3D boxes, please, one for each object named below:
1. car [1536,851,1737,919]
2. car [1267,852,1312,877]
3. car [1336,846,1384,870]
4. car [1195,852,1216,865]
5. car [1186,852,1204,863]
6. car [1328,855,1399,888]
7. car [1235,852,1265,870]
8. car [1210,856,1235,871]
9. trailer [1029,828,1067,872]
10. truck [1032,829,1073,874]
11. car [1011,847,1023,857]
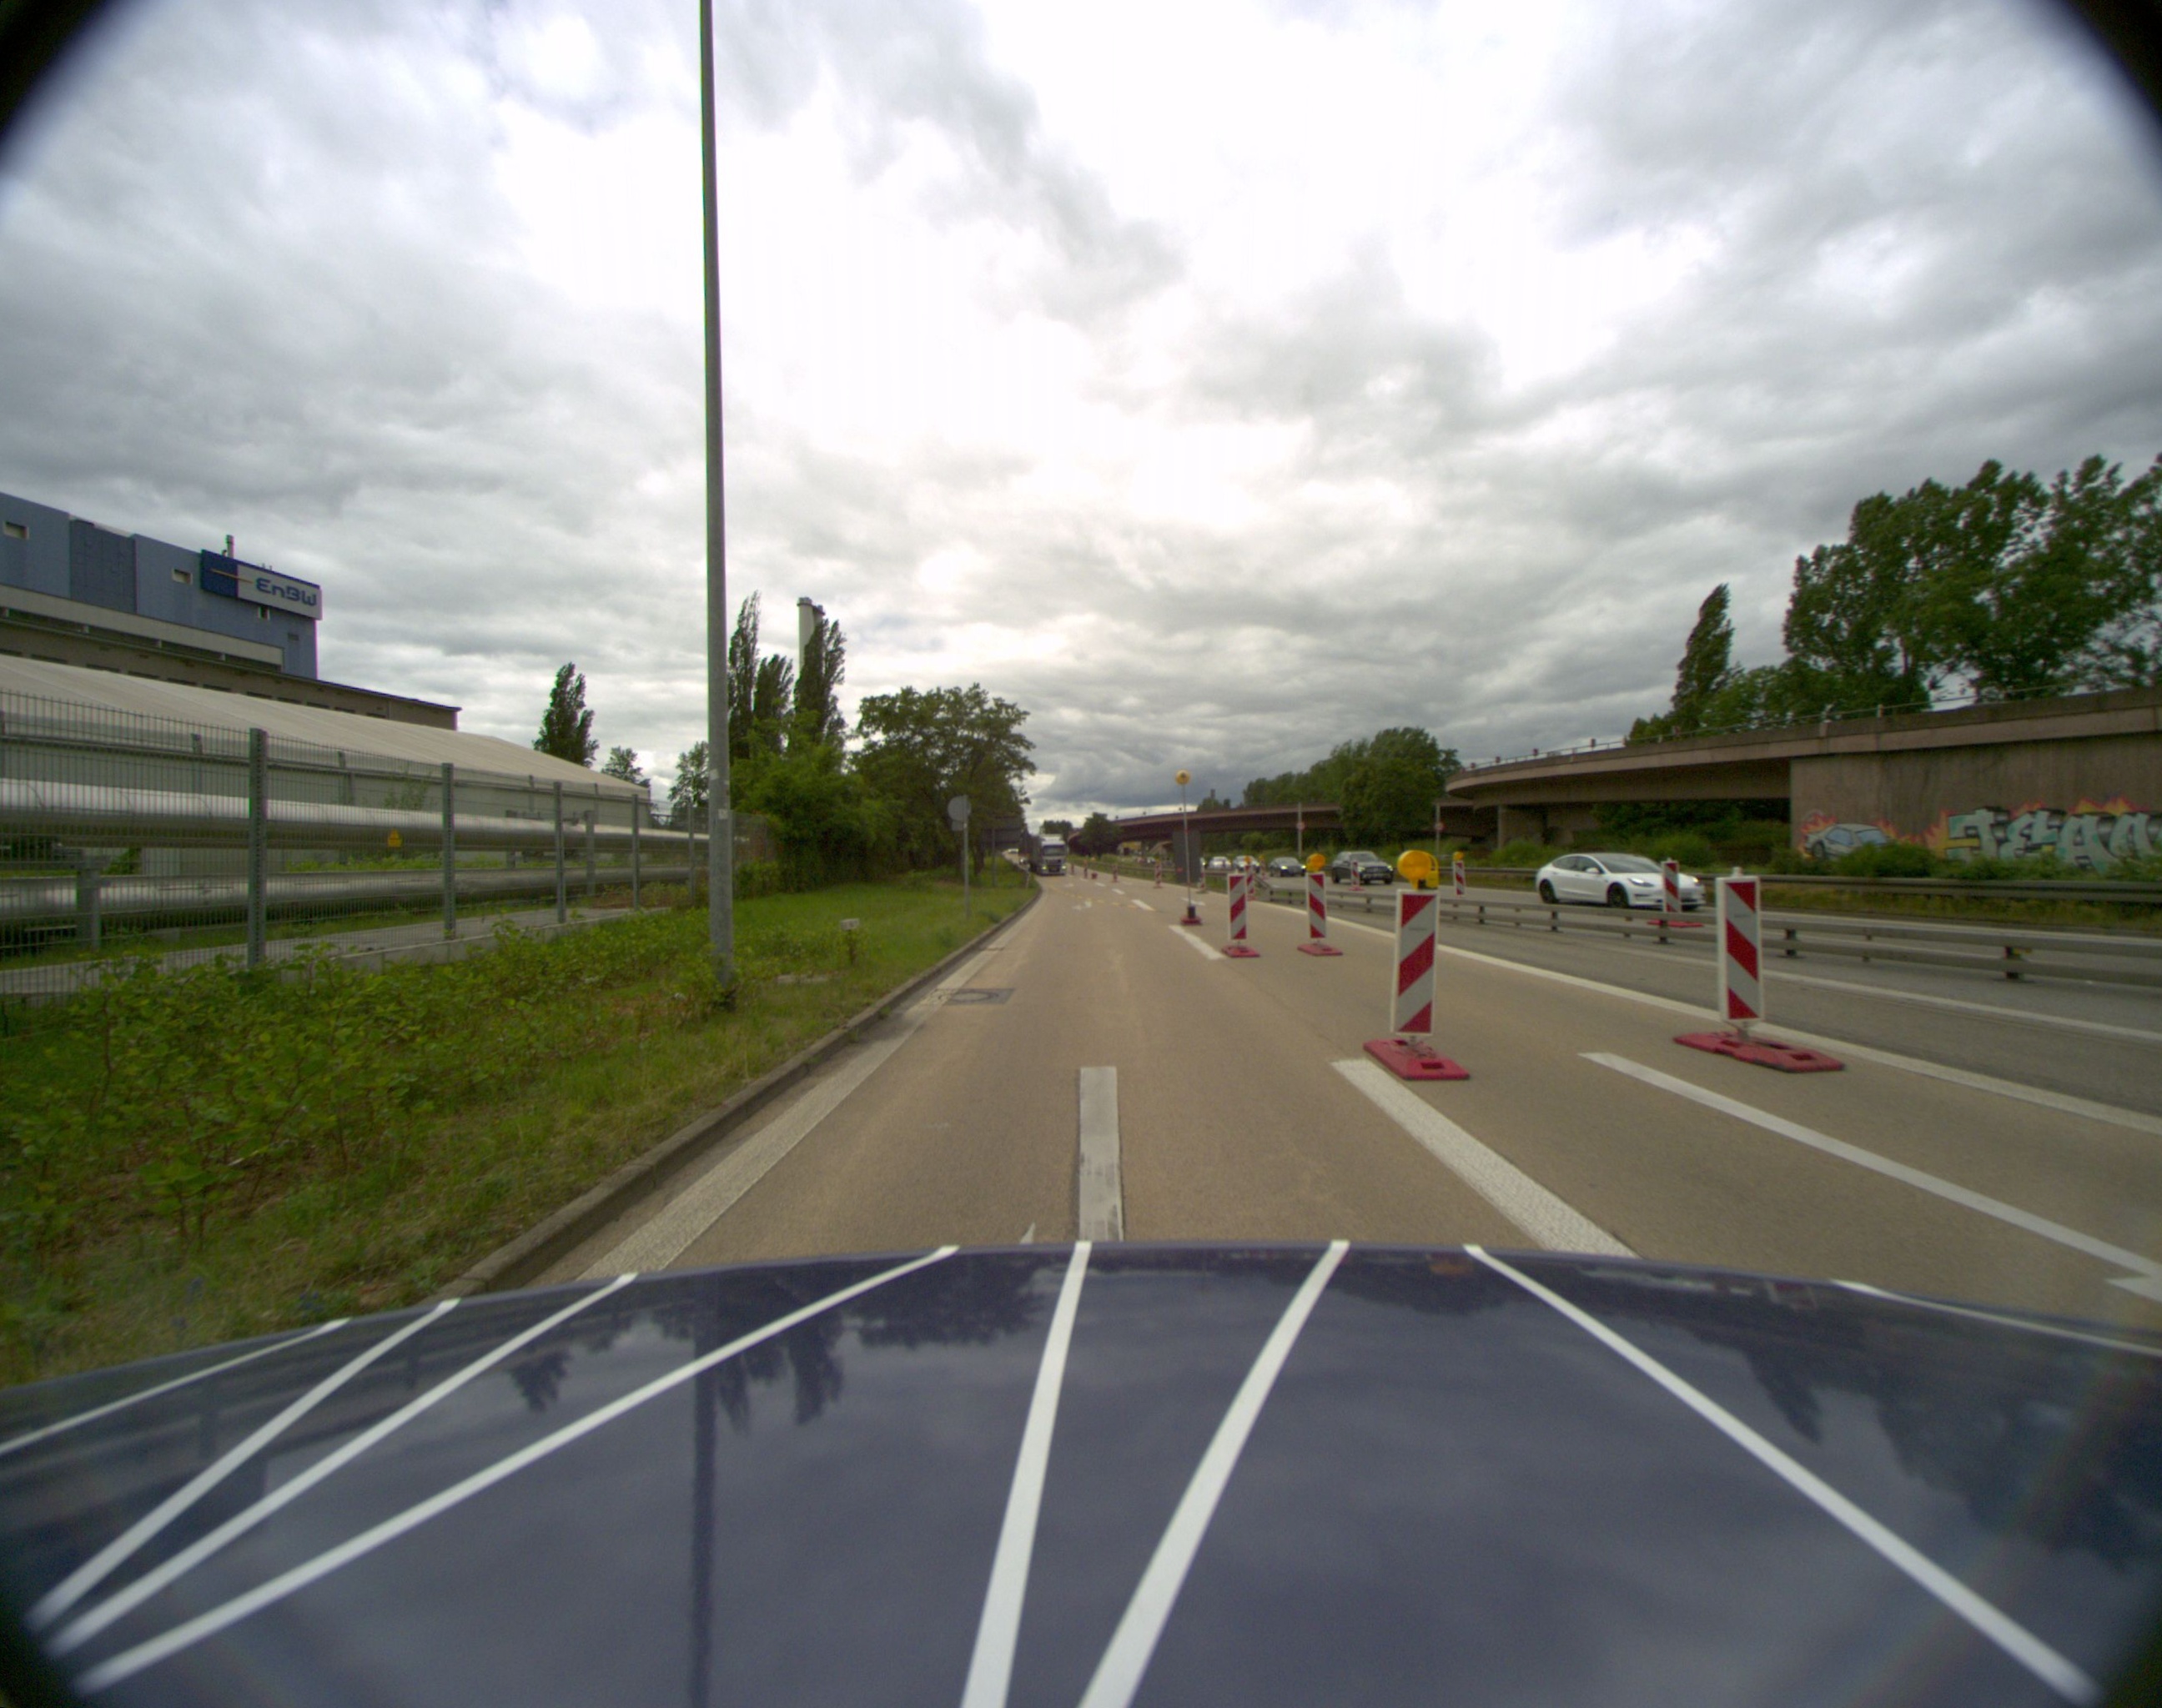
[{"bbox_3d":[14.110,0.708,19.704,1.998,1.533,4.460,0,0,1],"label":"car"},{"bbox_3d":[14.793,0.696,54.224,1.936,1.693,3.998,0,0,-3],"label":"car"},{"bbox_3d":[20.163,0.271,55.045,1.859,1.631,4.291,-2,0,0],"label":"car"},{"bbox_3d":[15.741,0.597,96.240,1.998,1.585,4.292,0,0,1],"label":"car"},{"bbox_3d":[16.209,0.489,107.968,1.998,1.585,4.292,0,0,1],"label":"car"},{"bbox_3d":[14.155,0.831,38.300,1.980,1.502,4.292,-2,0,0],"label":"car"},{"bbox_3d":[14.721,0.605,66.481,1.802,1.503,3.999,0,1,1],"label":"car"},{"bbox_3d":[15.329,1.012,82.328,1.998,1.585,4.000,0,0,1],"label":"car"},{"bbox_3d":[-3.754,-0.341,83.768,3.166,4.298,13.257,-2,0,-6],"label":"trailer"},{"bbox_3d":[-2.944,-0.226,76.461,3.164,4.106,8.136,-3,0,-7],"label":"truck"},{"bbox_3d":[-12.482,-0.432,147.979,1.993,1.851,3.937,0,0,-10],"label":"car"}]
